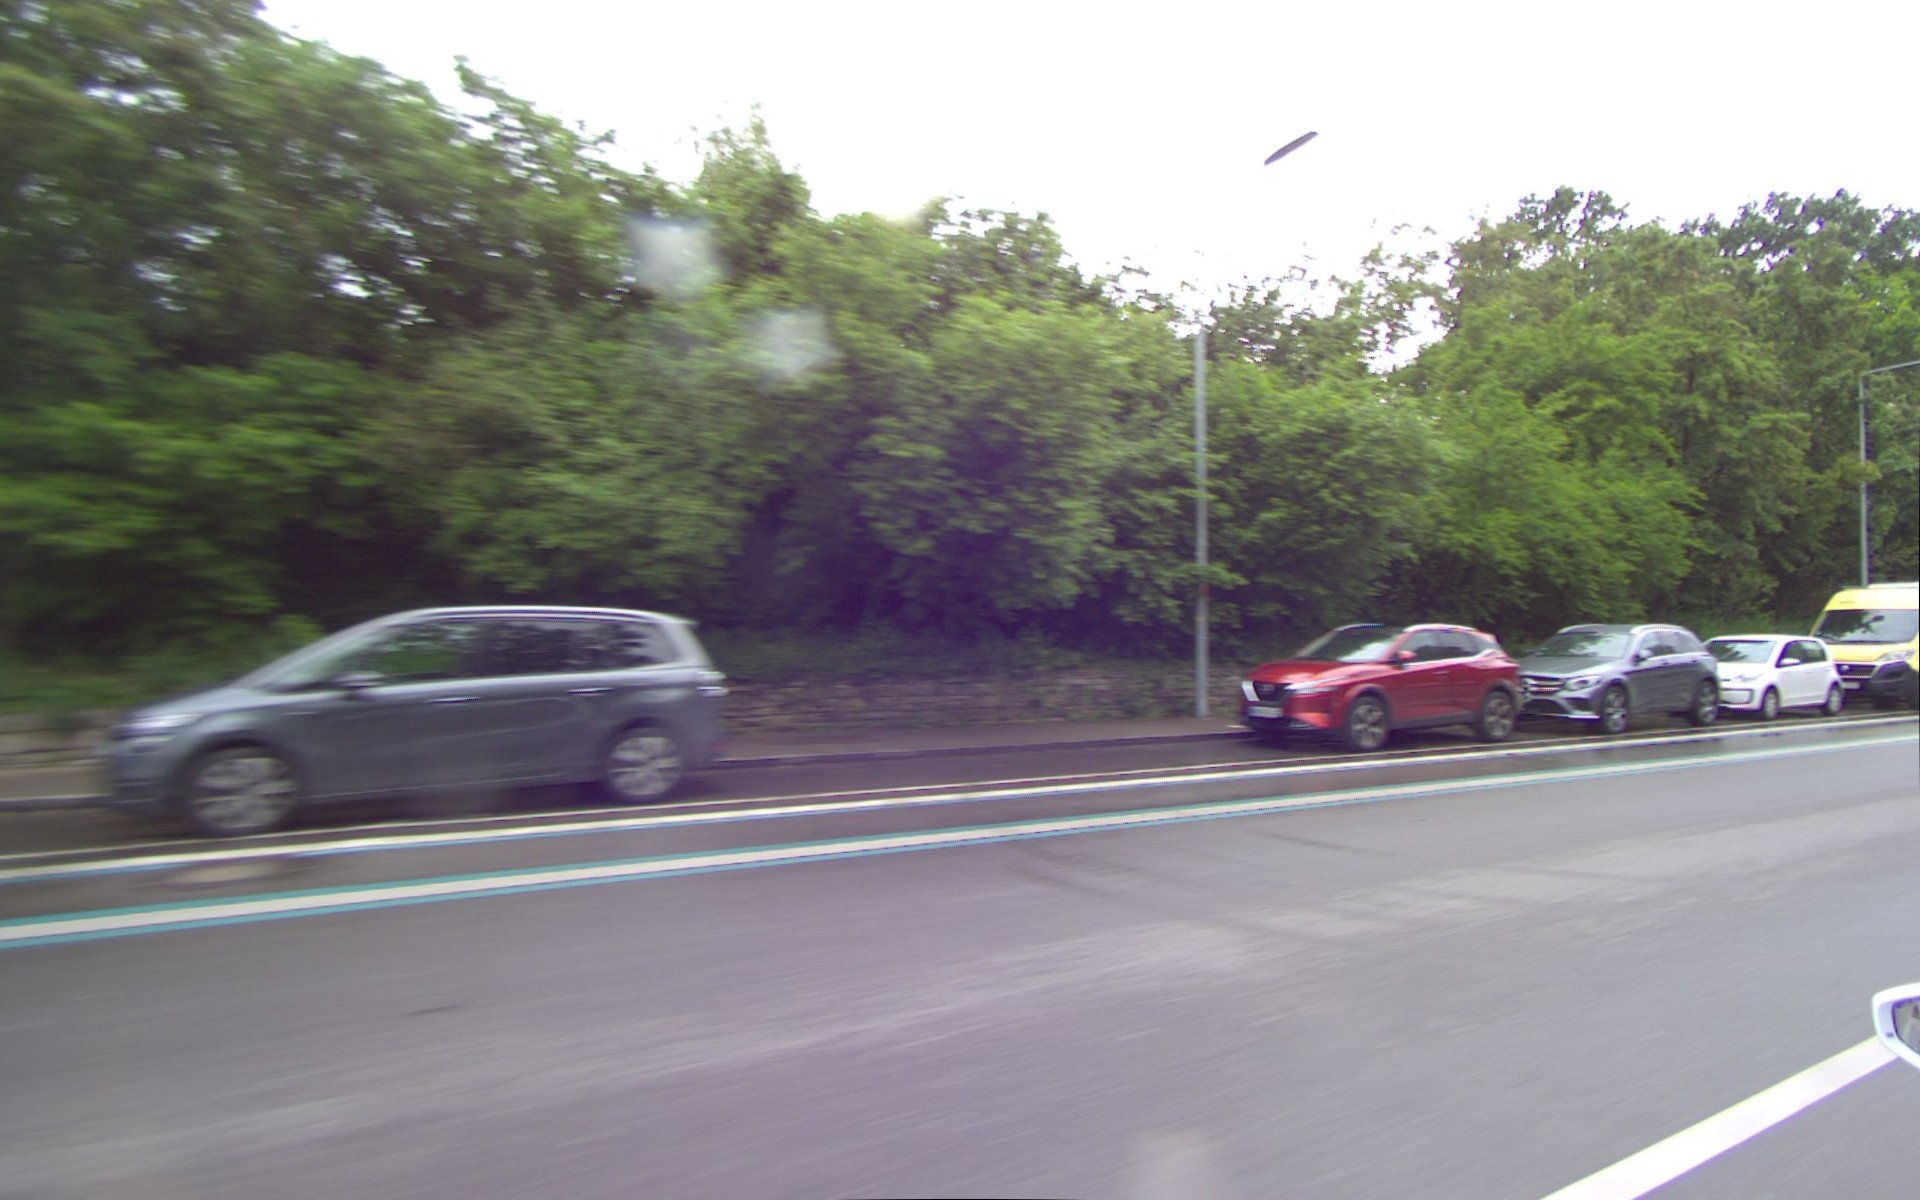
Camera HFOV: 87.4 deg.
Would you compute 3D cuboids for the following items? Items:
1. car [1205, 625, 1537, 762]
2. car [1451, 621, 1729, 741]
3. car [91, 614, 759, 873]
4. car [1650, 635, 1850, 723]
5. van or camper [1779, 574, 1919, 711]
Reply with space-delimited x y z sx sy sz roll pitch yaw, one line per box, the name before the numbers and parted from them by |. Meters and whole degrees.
car | 5.767 1.189 14.007 4.433 1.638 1.912 1 -2 -28
car | 10.330 1.200 16.404 4.561 1.723 1.984 1 -1 -30
car | -4.145 0.975 8.451 4.520 1.671 1.722 1 -1 -32
car | 14.764 1.408 18.753 3.611 1.467 1.611 1 -2 -28
van or camper | 20.437 0.874 21.781 5.610 2.662 2.136 1 -1 -28
